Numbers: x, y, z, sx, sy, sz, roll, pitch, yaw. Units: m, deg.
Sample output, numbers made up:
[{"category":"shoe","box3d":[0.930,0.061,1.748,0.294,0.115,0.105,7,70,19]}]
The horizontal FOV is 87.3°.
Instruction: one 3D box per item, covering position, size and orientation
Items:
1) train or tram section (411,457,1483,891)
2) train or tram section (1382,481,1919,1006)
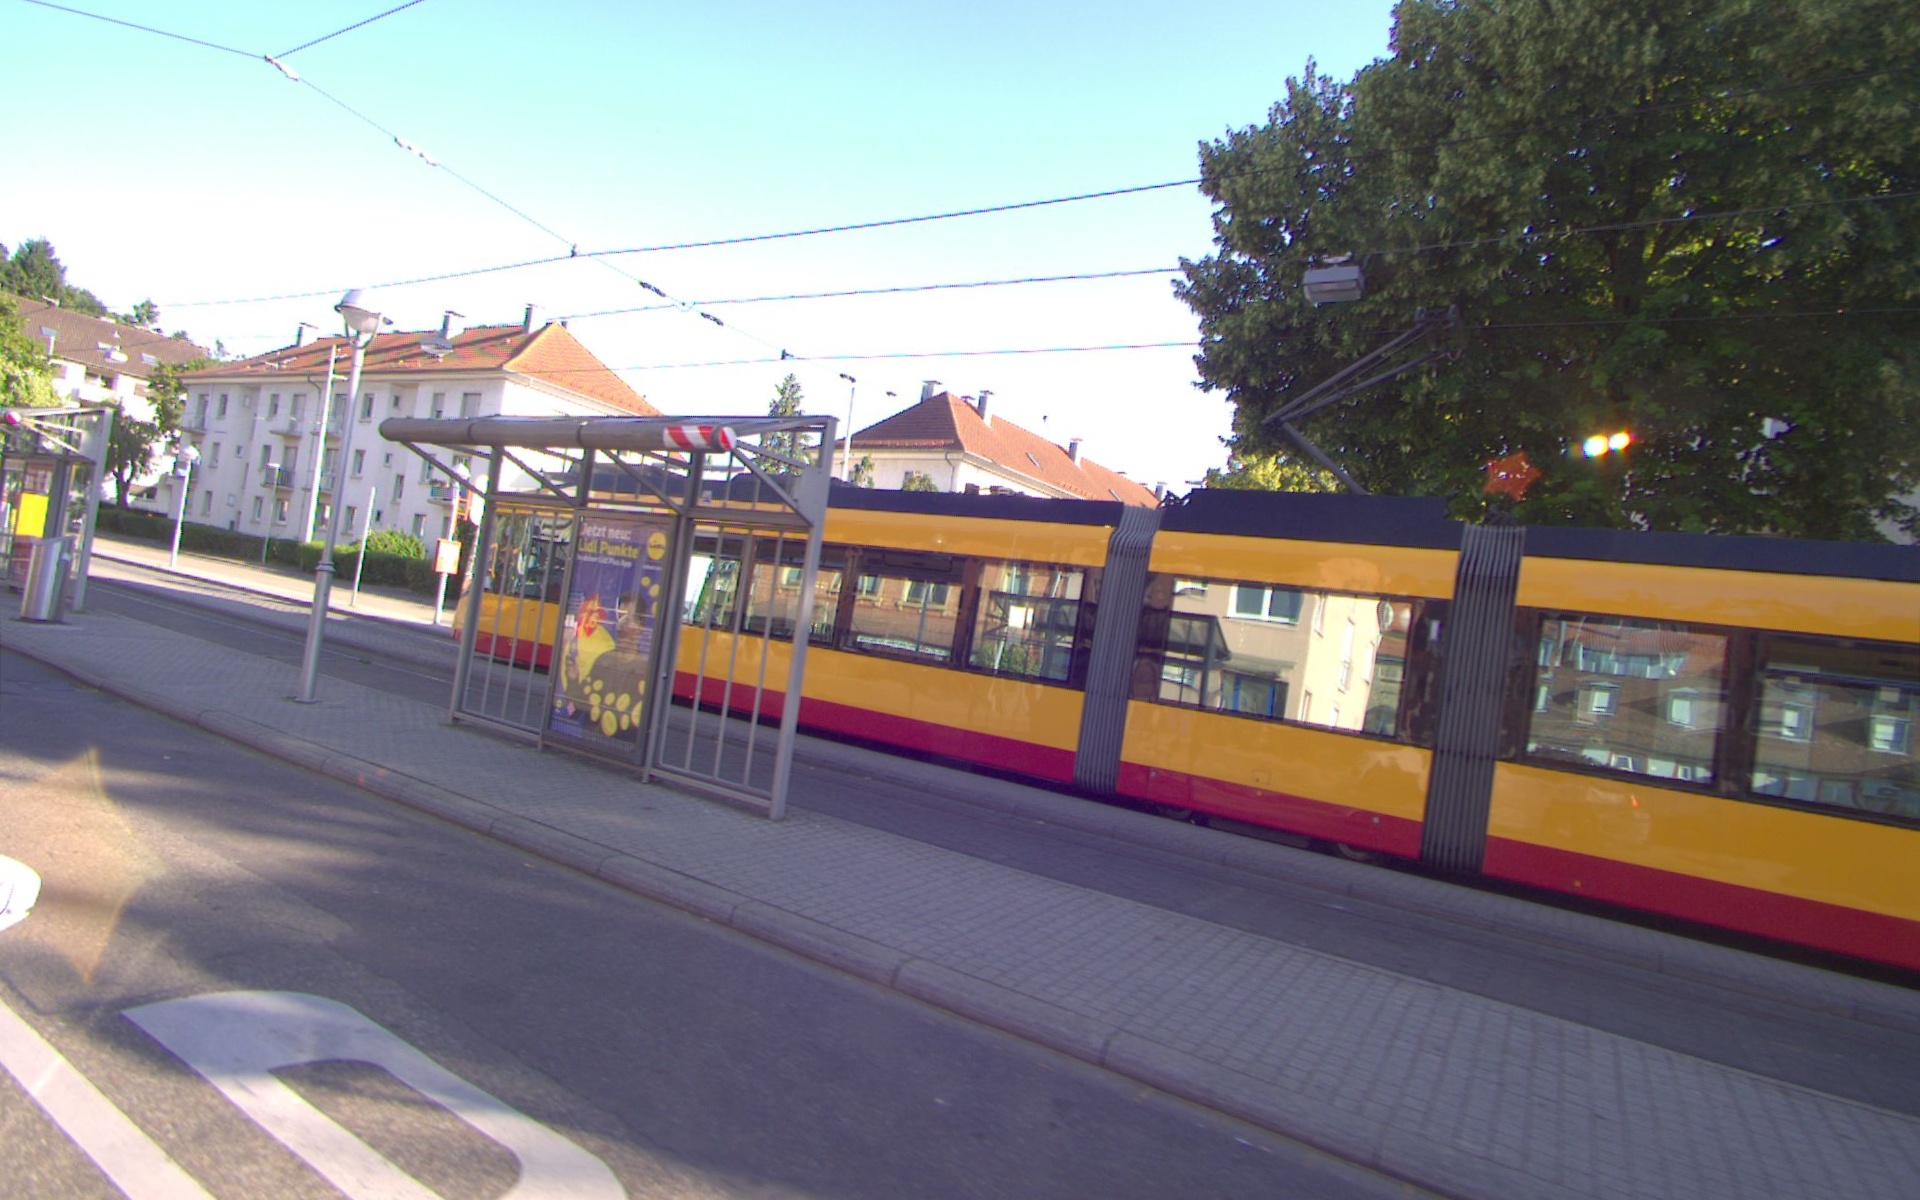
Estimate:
[{"category":"train or tram section","box3d":[-1.724,0.194,14.165,15.707,3.575,2.962,6,-2,32]},{"category":"train or tram section","box3d":[10.246,1.462,6.587,13.242,3.575,2.962,6,-2,32]}]
